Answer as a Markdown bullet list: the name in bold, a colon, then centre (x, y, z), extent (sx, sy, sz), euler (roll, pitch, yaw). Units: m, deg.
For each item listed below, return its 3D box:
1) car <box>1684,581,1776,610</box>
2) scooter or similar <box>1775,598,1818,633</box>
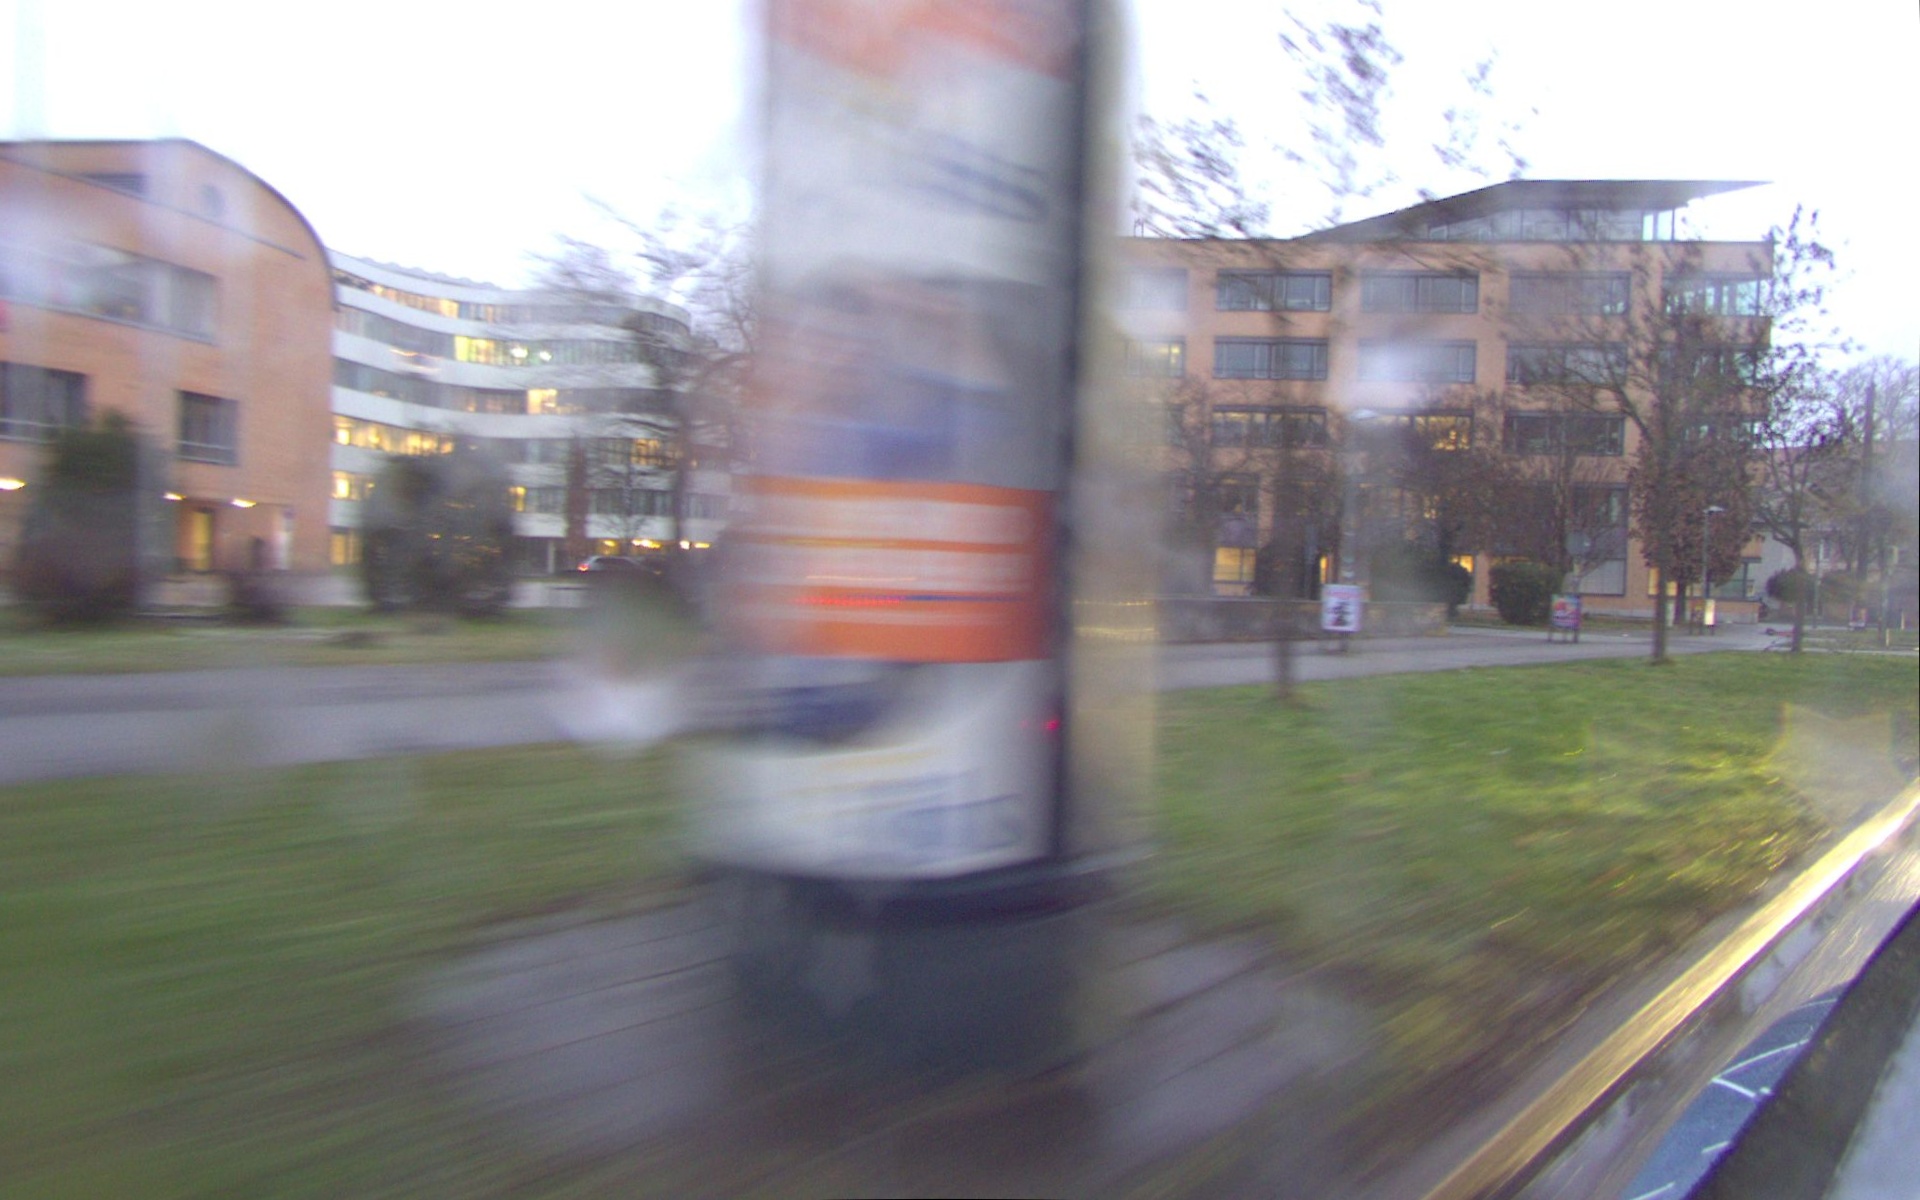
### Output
- **car**: centre (50.030, -0.300, 65.818), extent (1.966, 1.690, 4.503), euler (1, 2, -43)
- **scooter or similar**: centre (31.360, 0.560, 37.946), extent (1.138, 1.247, 0.482), euler (3, 1, 34)
